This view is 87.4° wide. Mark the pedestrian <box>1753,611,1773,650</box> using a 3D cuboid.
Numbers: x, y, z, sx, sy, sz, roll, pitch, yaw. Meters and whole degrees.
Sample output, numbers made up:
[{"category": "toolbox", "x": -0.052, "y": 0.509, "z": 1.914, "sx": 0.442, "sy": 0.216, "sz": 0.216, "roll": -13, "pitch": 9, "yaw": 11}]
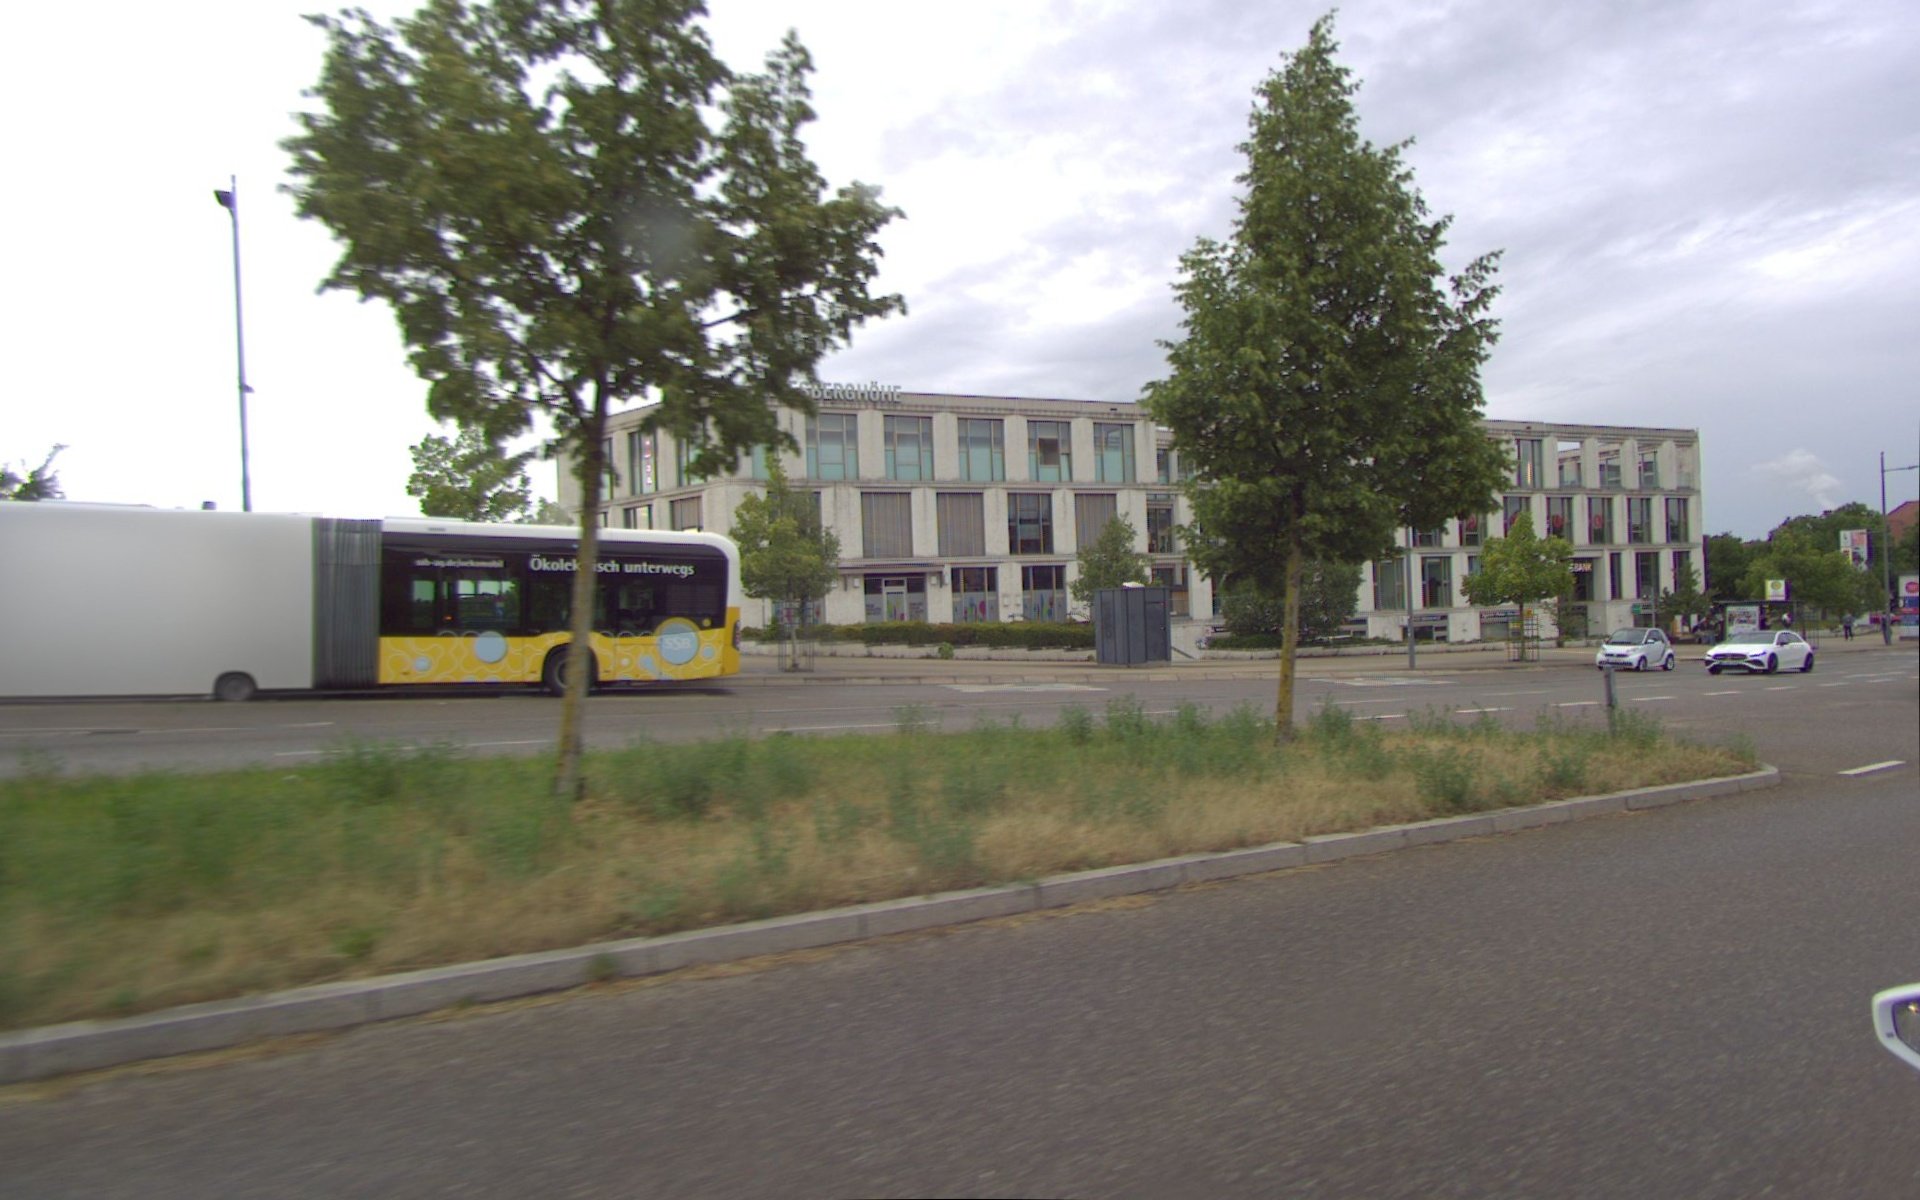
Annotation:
[{"category": "pedestrian", "x": 39.051, "y": 1.497, "z": 48.840, "sx": 0.747, "sy": 1.866, "sz": 0.505, "roll": 0, "pitch": -1, "yaw": -31}]

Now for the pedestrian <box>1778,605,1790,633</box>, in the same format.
[{"category": "pedestrian", "x": 49.781, "y": 1.160, "z": 60.669, "sx": 0.492, "sy": 1.712, "sz": 0.910, "roll": -2, "pitch": -1, "yaw": 43}]

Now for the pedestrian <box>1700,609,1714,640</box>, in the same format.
[{"category": "pedestrian", "x": 42.807, "y": 1.409, "z": 57.575, "sx": 0.613, "sy": 1.748, "sz": 0.424, "roll": 0, "pitch": -1, "yaw": -30}]

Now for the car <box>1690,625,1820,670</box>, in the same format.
[{"category": "car", "x": 27.107, "y": 1.566, "z": 34.233, "sx": 4.460, "sy": 1.437, "sz": 1.984, "roll": 1, "pitch": -2, "yaw": -30}]

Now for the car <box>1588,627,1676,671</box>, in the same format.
[{"category": "car", "x": 24.682, "y": 1.757, "z": 36.892, "sx": 2.937, "sy": 1.528, "sz": 1.606, "roll": 1, "pitch": -1, "yaw": -30}]

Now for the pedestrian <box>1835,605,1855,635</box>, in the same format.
[{"category": "pedestrian", "x": 53.039, "y": 1.214, "z": 60.217, "sx": 0.846, "sy": 1.785, "sz": 0.596, "roll": 0, "pitch": -1, "yaw": -28}]

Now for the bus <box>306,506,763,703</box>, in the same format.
[{"category": "bus", "x": -8.439, "y": 0.185, "z": 20.833, "sx": 8.114, "sy": 3.518, "sz": 2.815, "roll": 2, "pitch": -1, "yaw": -23}]

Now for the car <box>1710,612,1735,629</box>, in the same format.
[{"category": "car", "x": 83.692, "y": 2.254, "z": 110.307, "sx": 1.748, "sy": 1.754, "sz": 3.990, "roll": -2, "pitch": -2, "yaw": 32}]

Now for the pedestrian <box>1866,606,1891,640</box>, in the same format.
[{"category": "pedestrian", "x": 50.341, "y": 1.252, "z": 55.056, "sx": 0.737, "sy": 1.866, "sz": 0.750, "roll": 0, "pitch": -1, "yaw": -28}]

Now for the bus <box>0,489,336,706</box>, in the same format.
[{"category": "bus", "x": -16.775, "y": -0.057, "z": 17.264, "sx": 9.832, "sy": 3.518, "sz": 2.815, "roll": 2, "pitch": -1, "yaw": -23}]

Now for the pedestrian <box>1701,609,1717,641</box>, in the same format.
[{"category": "pedestrian", "x": 41.885, "y": 1.406, "z": 56.182, "sx": 0.559, "sy": 1.748, "sz": 0.522, "roll": 0, "pitch": -1, "yaw": -28}]
